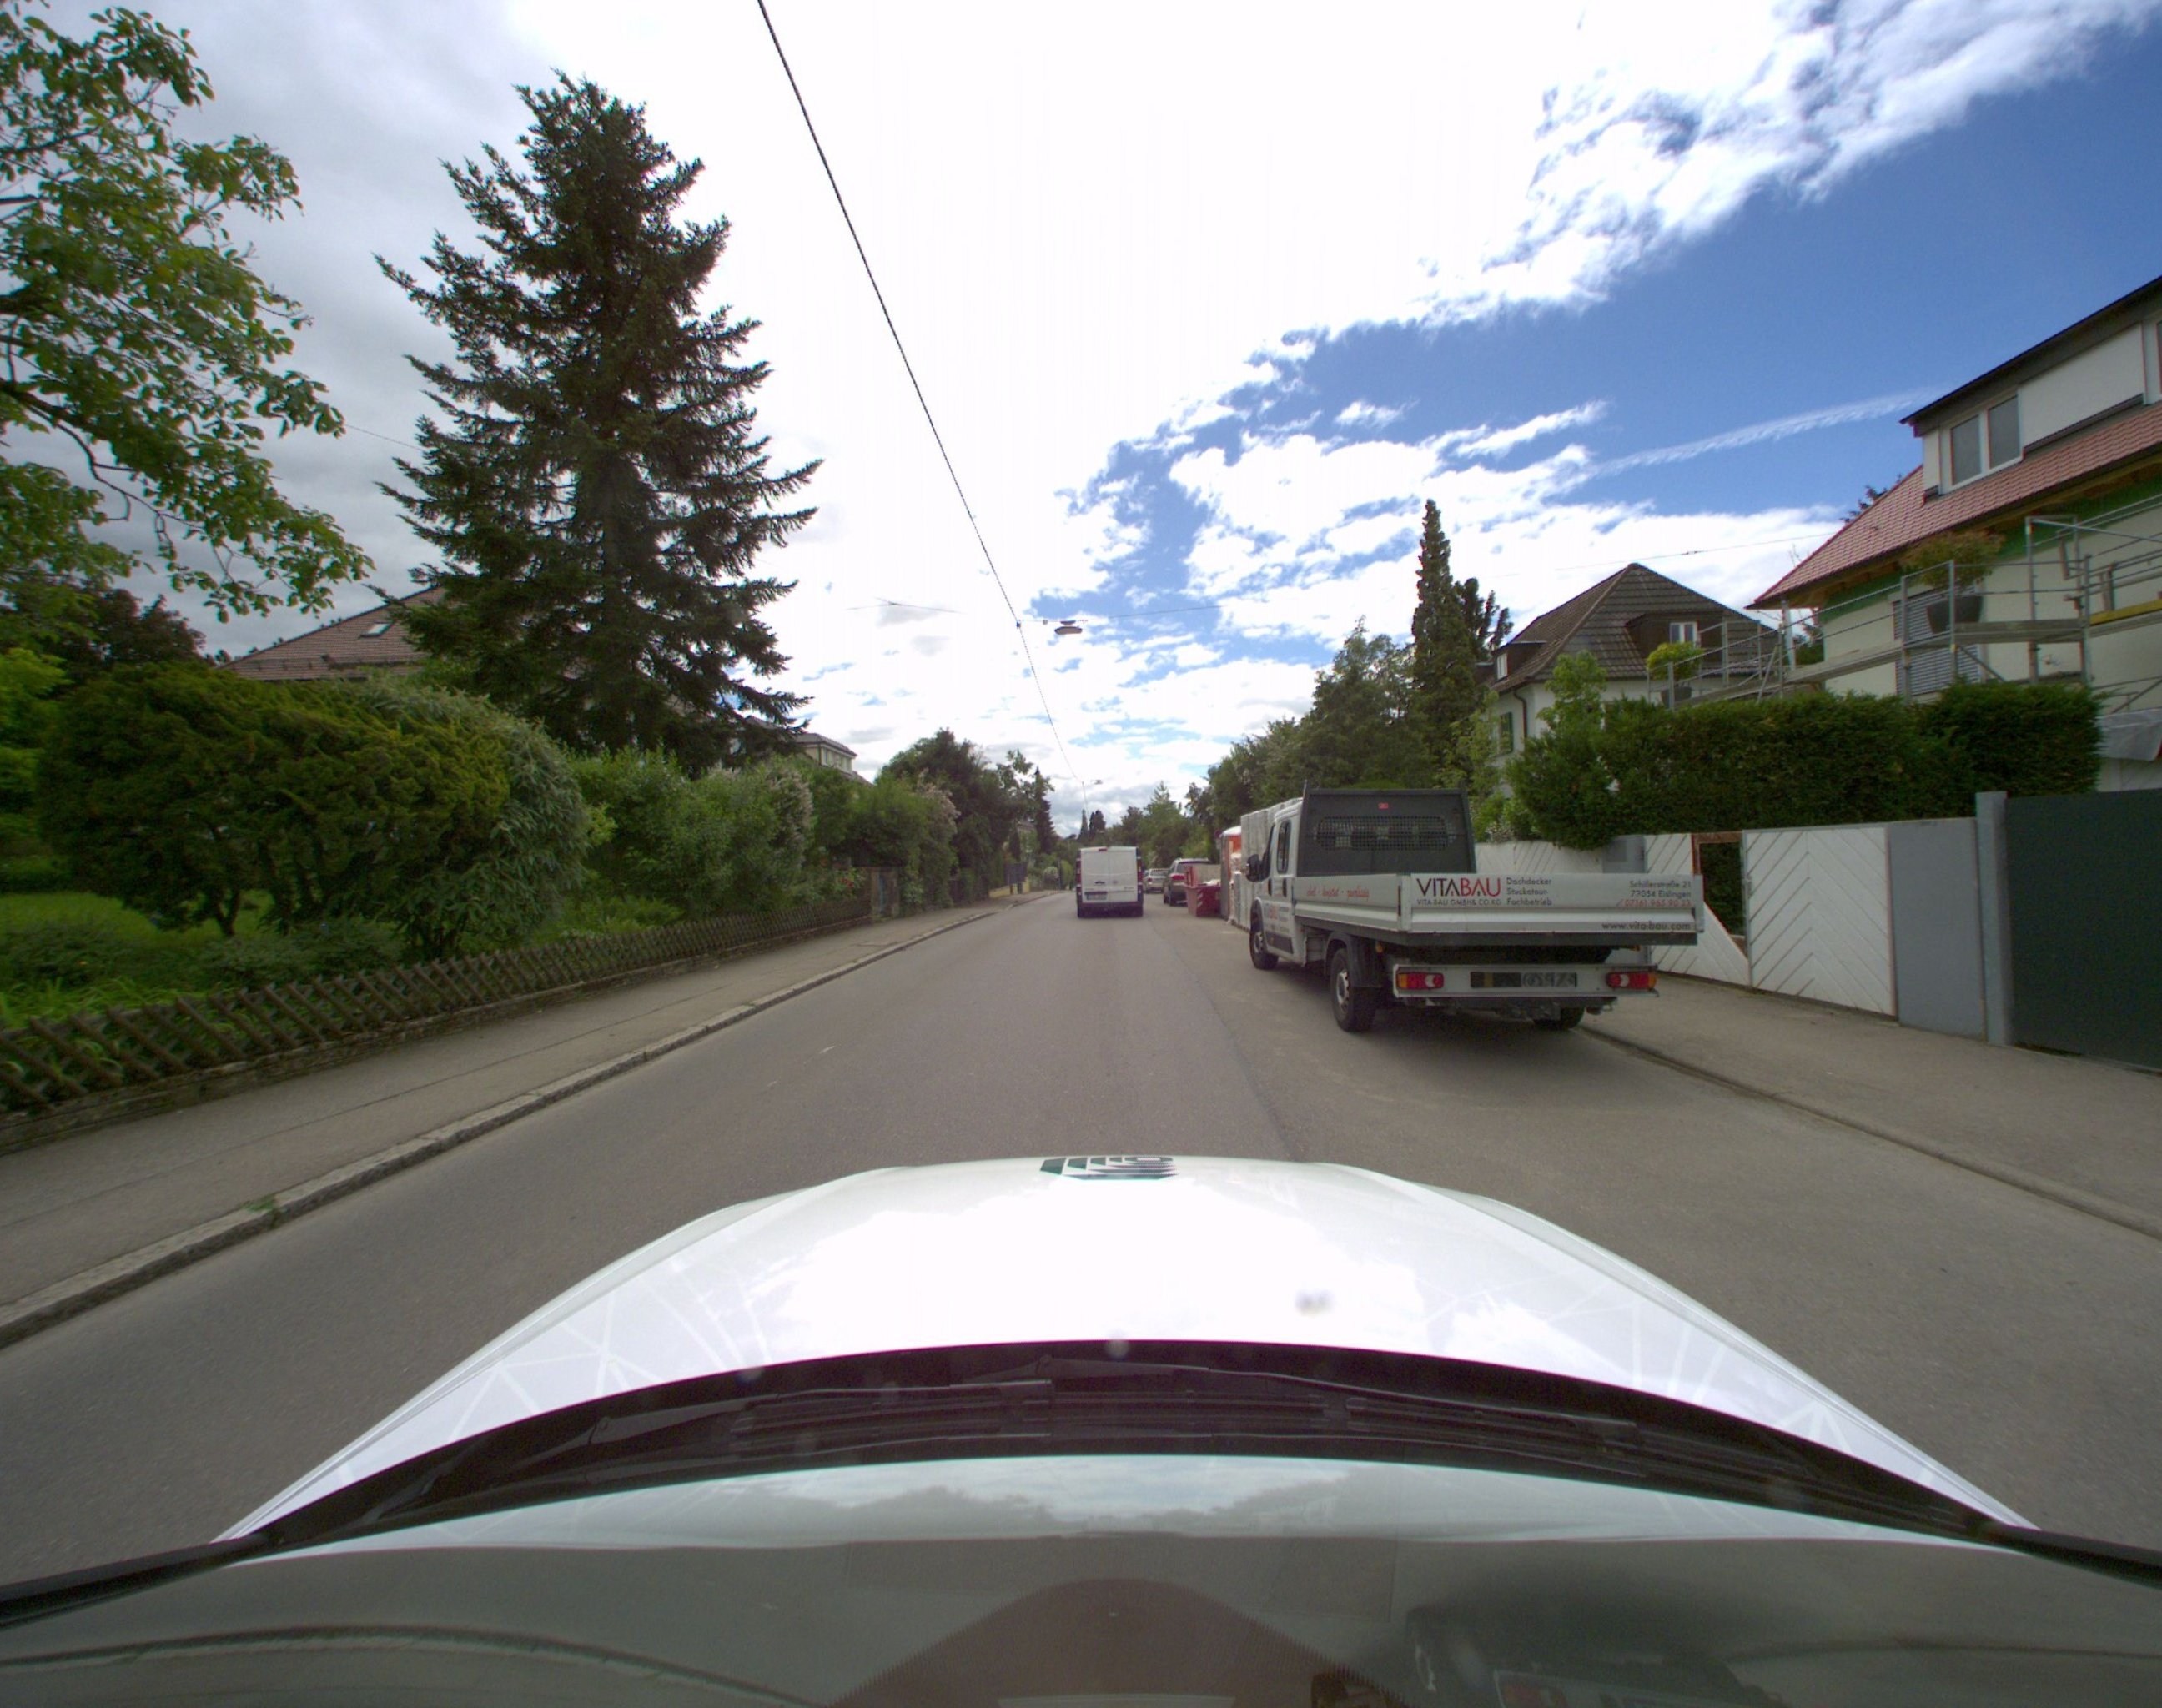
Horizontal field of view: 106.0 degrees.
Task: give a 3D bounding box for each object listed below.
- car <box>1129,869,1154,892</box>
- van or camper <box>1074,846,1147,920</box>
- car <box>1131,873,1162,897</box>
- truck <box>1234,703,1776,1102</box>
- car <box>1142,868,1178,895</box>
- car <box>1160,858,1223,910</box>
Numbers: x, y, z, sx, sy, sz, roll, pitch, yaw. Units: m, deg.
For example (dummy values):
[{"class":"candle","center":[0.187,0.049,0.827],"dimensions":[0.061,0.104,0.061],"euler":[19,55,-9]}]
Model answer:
[{"class":"car","center":[4.791,2.095,65.093],"dimensions":[1.738,1.629,4.259],"euler":[-3,-1,1]},{"class":"van or camper","center":[0.845,0.831,24.140],"dimensions":[1.932,1.954,4.765],"euler":[-1,-2,1]},{"class":"car","center":[4.367,2.034,54.756],"dimensions":[1.738,1.447,4.259],"euler":[-3,-1,1]},{"class":"truck","center":[3.346,0.329,8.820],"dimensions":[2.179,2.472,7.433],"euler":[-1,0,2]},{"class":"car","center":[4.629,1.595,48.318],"dimensions":[1.738,1.447,4.259],"euler":[-3,-1,1]},{"class":"car","center":[3.951,1.051,29.628],"dimensions":[1.738,1.675,4.185],"euler":[-3,-1,1]}]
